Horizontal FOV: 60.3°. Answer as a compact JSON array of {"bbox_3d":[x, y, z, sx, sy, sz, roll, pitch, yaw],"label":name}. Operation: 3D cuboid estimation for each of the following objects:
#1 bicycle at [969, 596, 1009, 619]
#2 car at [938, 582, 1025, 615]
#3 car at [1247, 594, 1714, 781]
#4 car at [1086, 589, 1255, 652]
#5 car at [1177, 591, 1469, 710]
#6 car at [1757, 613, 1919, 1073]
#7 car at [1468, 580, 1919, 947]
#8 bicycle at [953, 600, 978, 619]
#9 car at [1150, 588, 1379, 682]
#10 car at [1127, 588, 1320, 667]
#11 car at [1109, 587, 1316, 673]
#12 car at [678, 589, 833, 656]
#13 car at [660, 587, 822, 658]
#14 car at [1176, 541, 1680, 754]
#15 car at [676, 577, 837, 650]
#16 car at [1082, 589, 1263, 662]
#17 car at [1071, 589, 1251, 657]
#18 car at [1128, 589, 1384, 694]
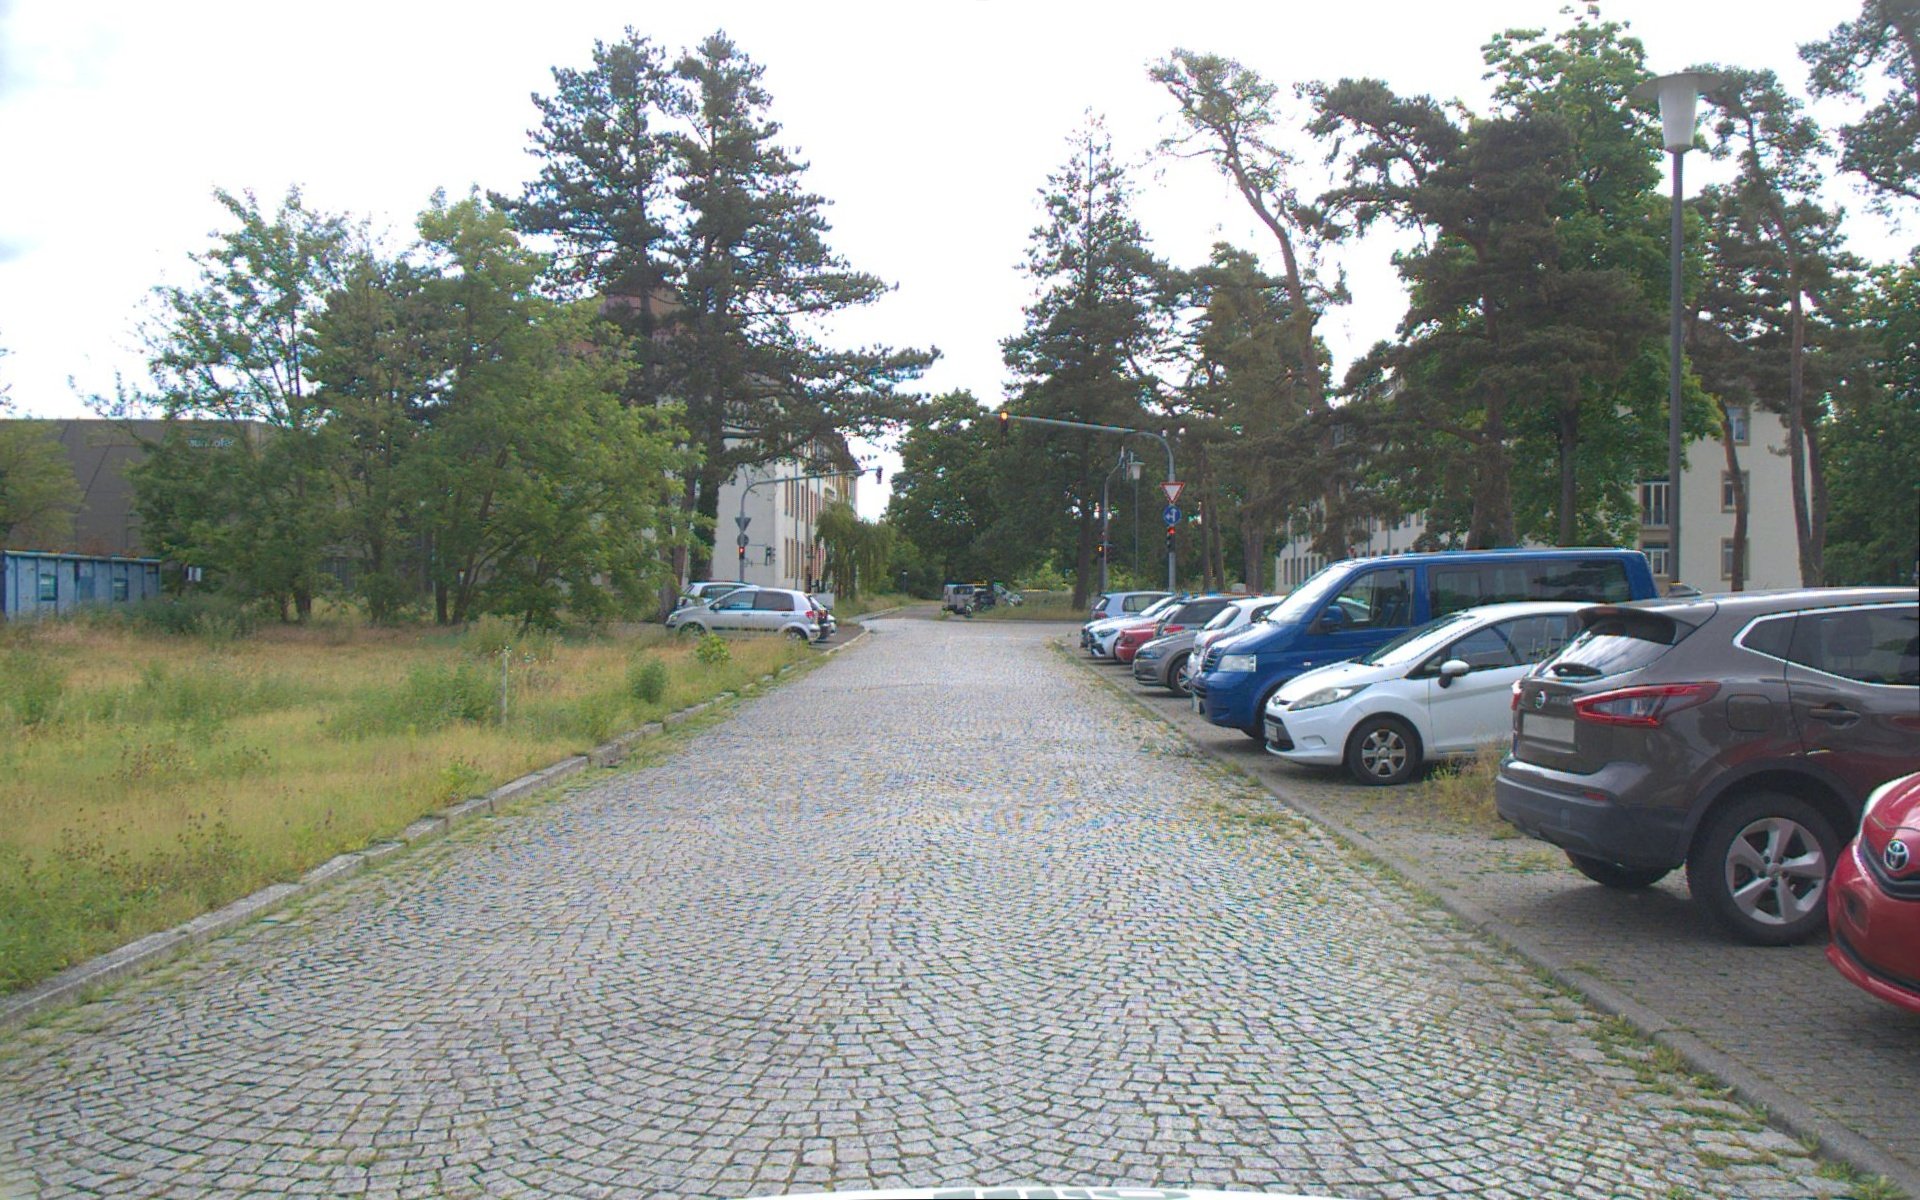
[{"bbox_3d":[1.581,0.397,89.940,2.095,1.236,0.621,1,0,-5],"label":"bicycle"},{"bbox_3d":[1.364,-0.116,107.849,5.345,2.049,2.264,1,0,-9],"label":"car"},{"bbox_3d":[4.501,0.728,14.630,3.598,1.475,1.614,-1,0,-3],"label":"car"},{"bbox_3d":[5.180,0.486,41.019,3.890,1.446,1.618,-1,0,-5],"label":"car"},{"bbox_3d":[4.878,0.661,22.502,3.598,1.475,1.523,-1,0,-2],"label":"car"},{"bbox_3d":[4.991,0.768,5.608,3.714,1.485,1.751,-1,0,0],"label":"car"},{"bbox_3d":[4.795,0.693,8.254,3.948,1.579,1.750,-1,0,-3],"label":"car"},{"bbox_3d":[0.299,0.497,85.868,0.613,0.961,1.648,1,0,-27],"label":"bicycle"},{"bbox_3d":[5.152,0.582,28.270,3.598,1.475,1.523,-1,0,-2],"label":"car"},{"bbox_3d":[5.261,0.540,33.261,3.598,1.475,1.523,-1,0,-2],"label":"car"},{"bbox_3d":[4.683,0.546,30.975,3.598,1.475,1.523,-1,0,-2],"label":"car"},{"bbox_3d":[-5.197,0.552,42.343,3.744,1.600,1.564,-1,0,-1],"label":"car"},{"bbox_3d":[-5.240,0.525,39.927,3.746,1.600,1.563,-1,0,-3],"label":"car"},{"bbox_3d":[4.741,0.458,17.223,4.658,1.989,1.930,-1,0,-2],"label":"car"},{"bbox_3d":[-5.539,0.372,45.330,4.175,1.873,1.743,-1,0,-1],"label":"car"},{"bbox_3d":[4.535,0.526,35.512,3.600,1.446,1.522,-1,0,-5],"label":"car"},{"bbox_3d":[4.620,0.517,38.368,3.890,1.446,1.618,-1,0,-5],"label":"car"},{"bbox_3d":[4.464,0.613,25.280,3.598,1.475,1.523,-1,0,-2],"label":"car"}]
